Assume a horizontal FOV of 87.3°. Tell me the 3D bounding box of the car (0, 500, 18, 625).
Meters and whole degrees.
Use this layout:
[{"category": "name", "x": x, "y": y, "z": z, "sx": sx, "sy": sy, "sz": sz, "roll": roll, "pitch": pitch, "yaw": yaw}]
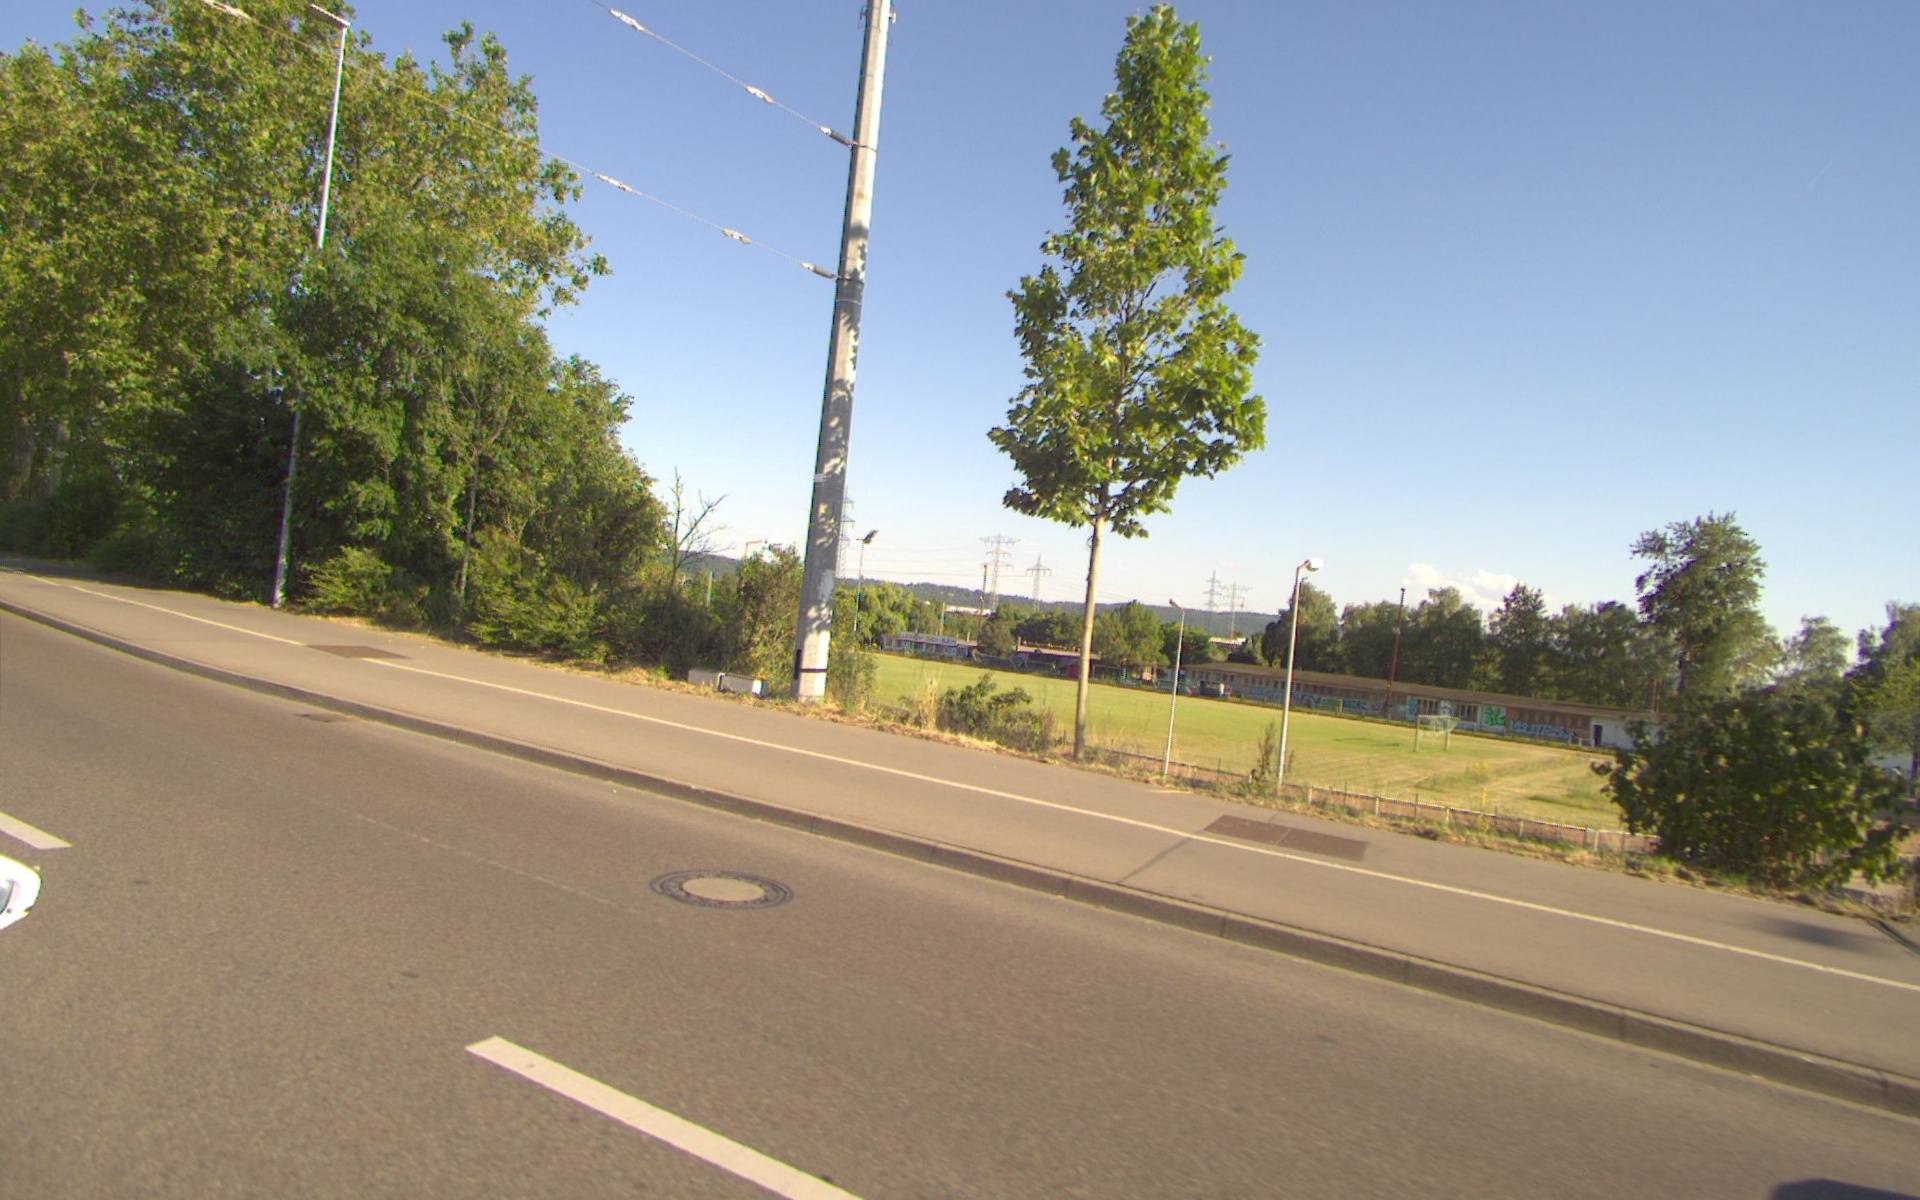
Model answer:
[{"category": "car", "x": -15.186, "y": -0.783, "z": 14.183, "sx": 4.371, "sy": 1.680, "sz": 1.846, "roll": 6, "pitch": -2, "yaw": 36}]
